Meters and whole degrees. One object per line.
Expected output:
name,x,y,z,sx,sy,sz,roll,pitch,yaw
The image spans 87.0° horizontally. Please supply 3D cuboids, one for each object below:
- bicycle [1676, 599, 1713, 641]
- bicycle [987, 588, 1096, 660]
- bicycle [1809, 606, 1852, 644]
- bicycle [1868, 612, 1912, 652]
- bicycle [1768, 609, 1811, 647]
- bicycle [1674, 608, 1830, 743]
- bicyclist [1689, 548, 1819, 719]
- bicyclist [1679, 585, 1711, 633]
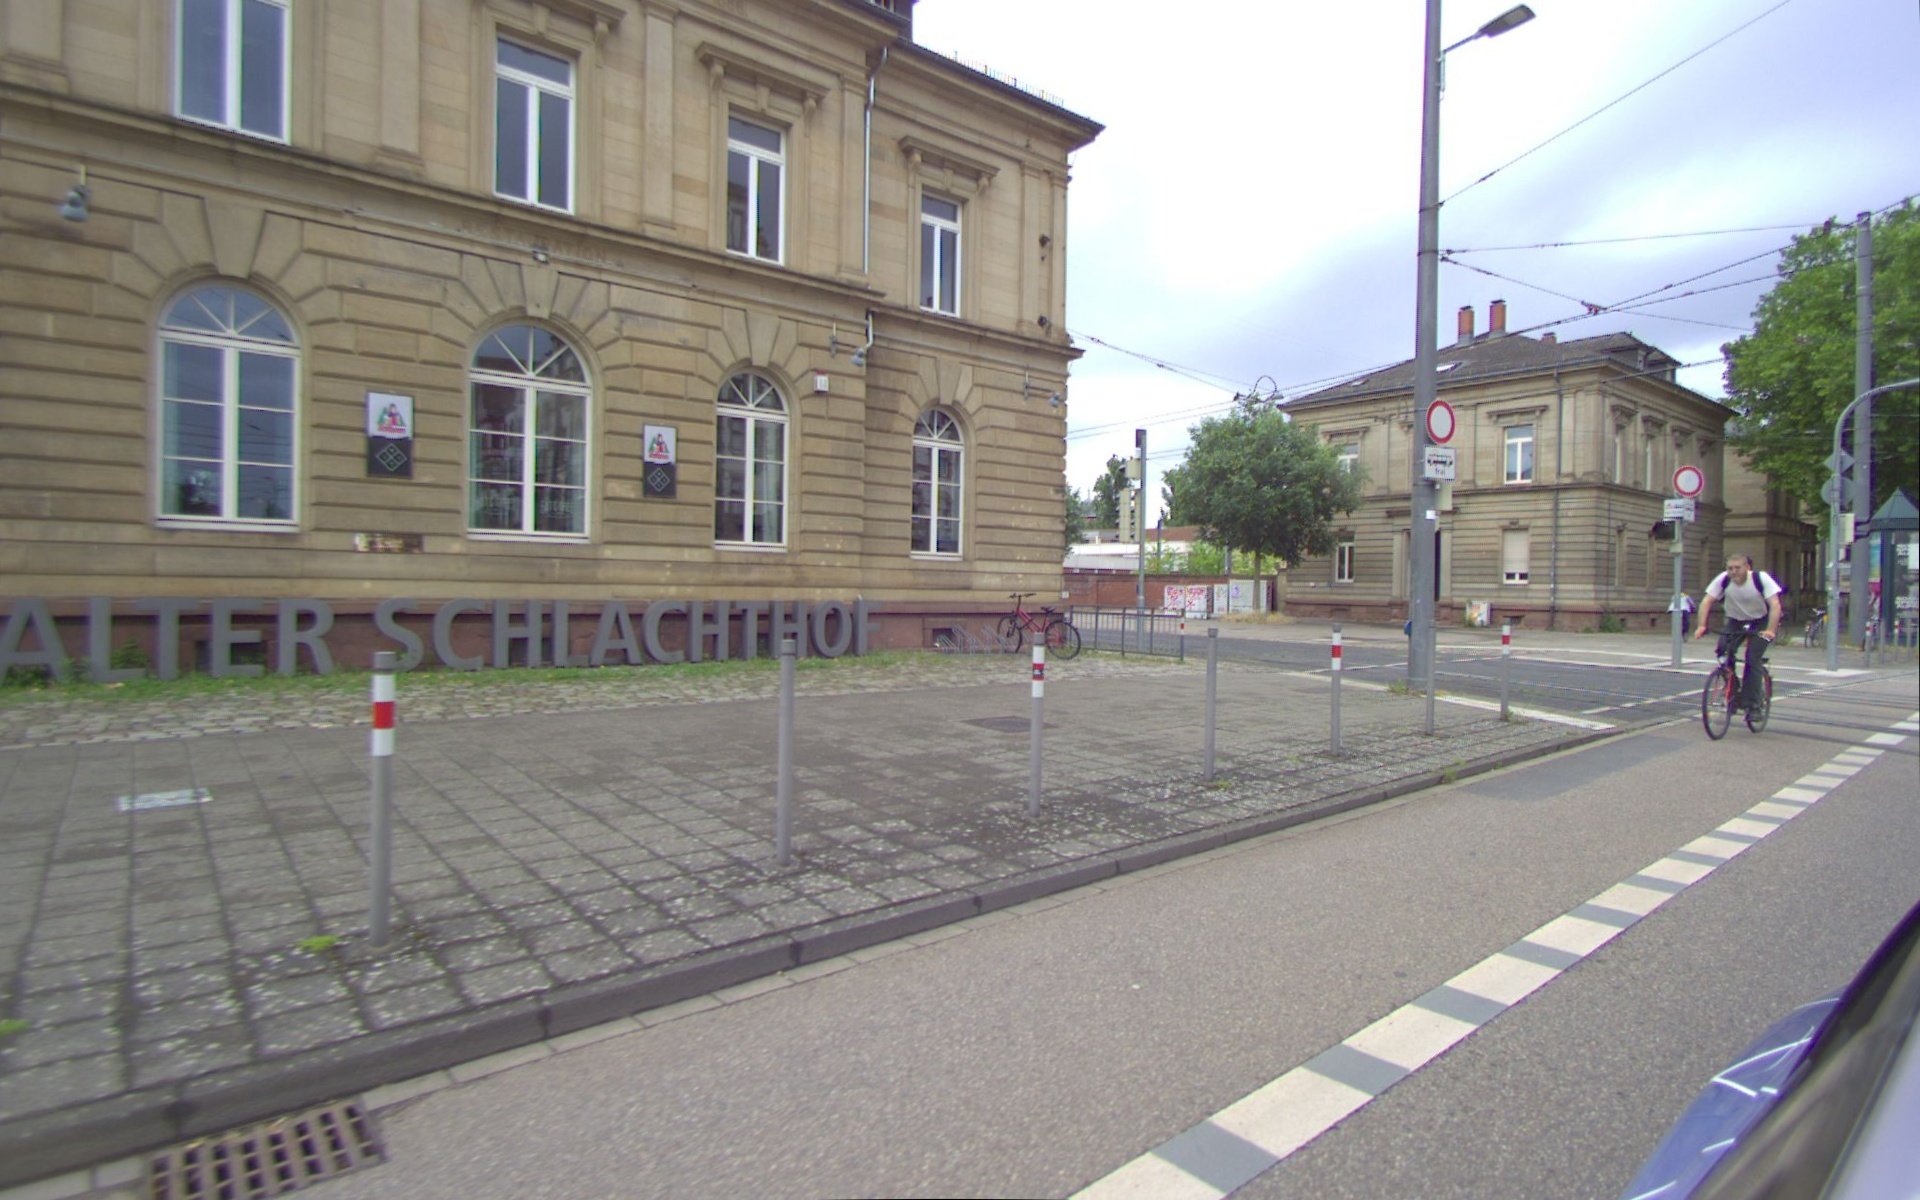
bicycle,22.294,0.584,30.704,0.674,1.179,2.082,2,2,42
bicycle,1.422,0.403,17.835,1.845,1.091,0.541,5,3,34
bicycle,26.148,0.738,30.376,1.669,1.081,0.718,0,2,-41
bicycle,26.971,0.918,29.349,1.669,1.081,0.718,0,2,-41
bicycle,25.521,0.851,31.131,1.669,1.081,0.718,0,2,-41
bicycle,8.124,0.707,10.343,2.237,1.184,0.814,0,2,-41
bicyclist,8.067,0.298,10.278,1.169,1.620,0.811,0,1,-41
bicyclist,22.235,0.263,30.605,0.692,1.417,0.804,2,1,41
